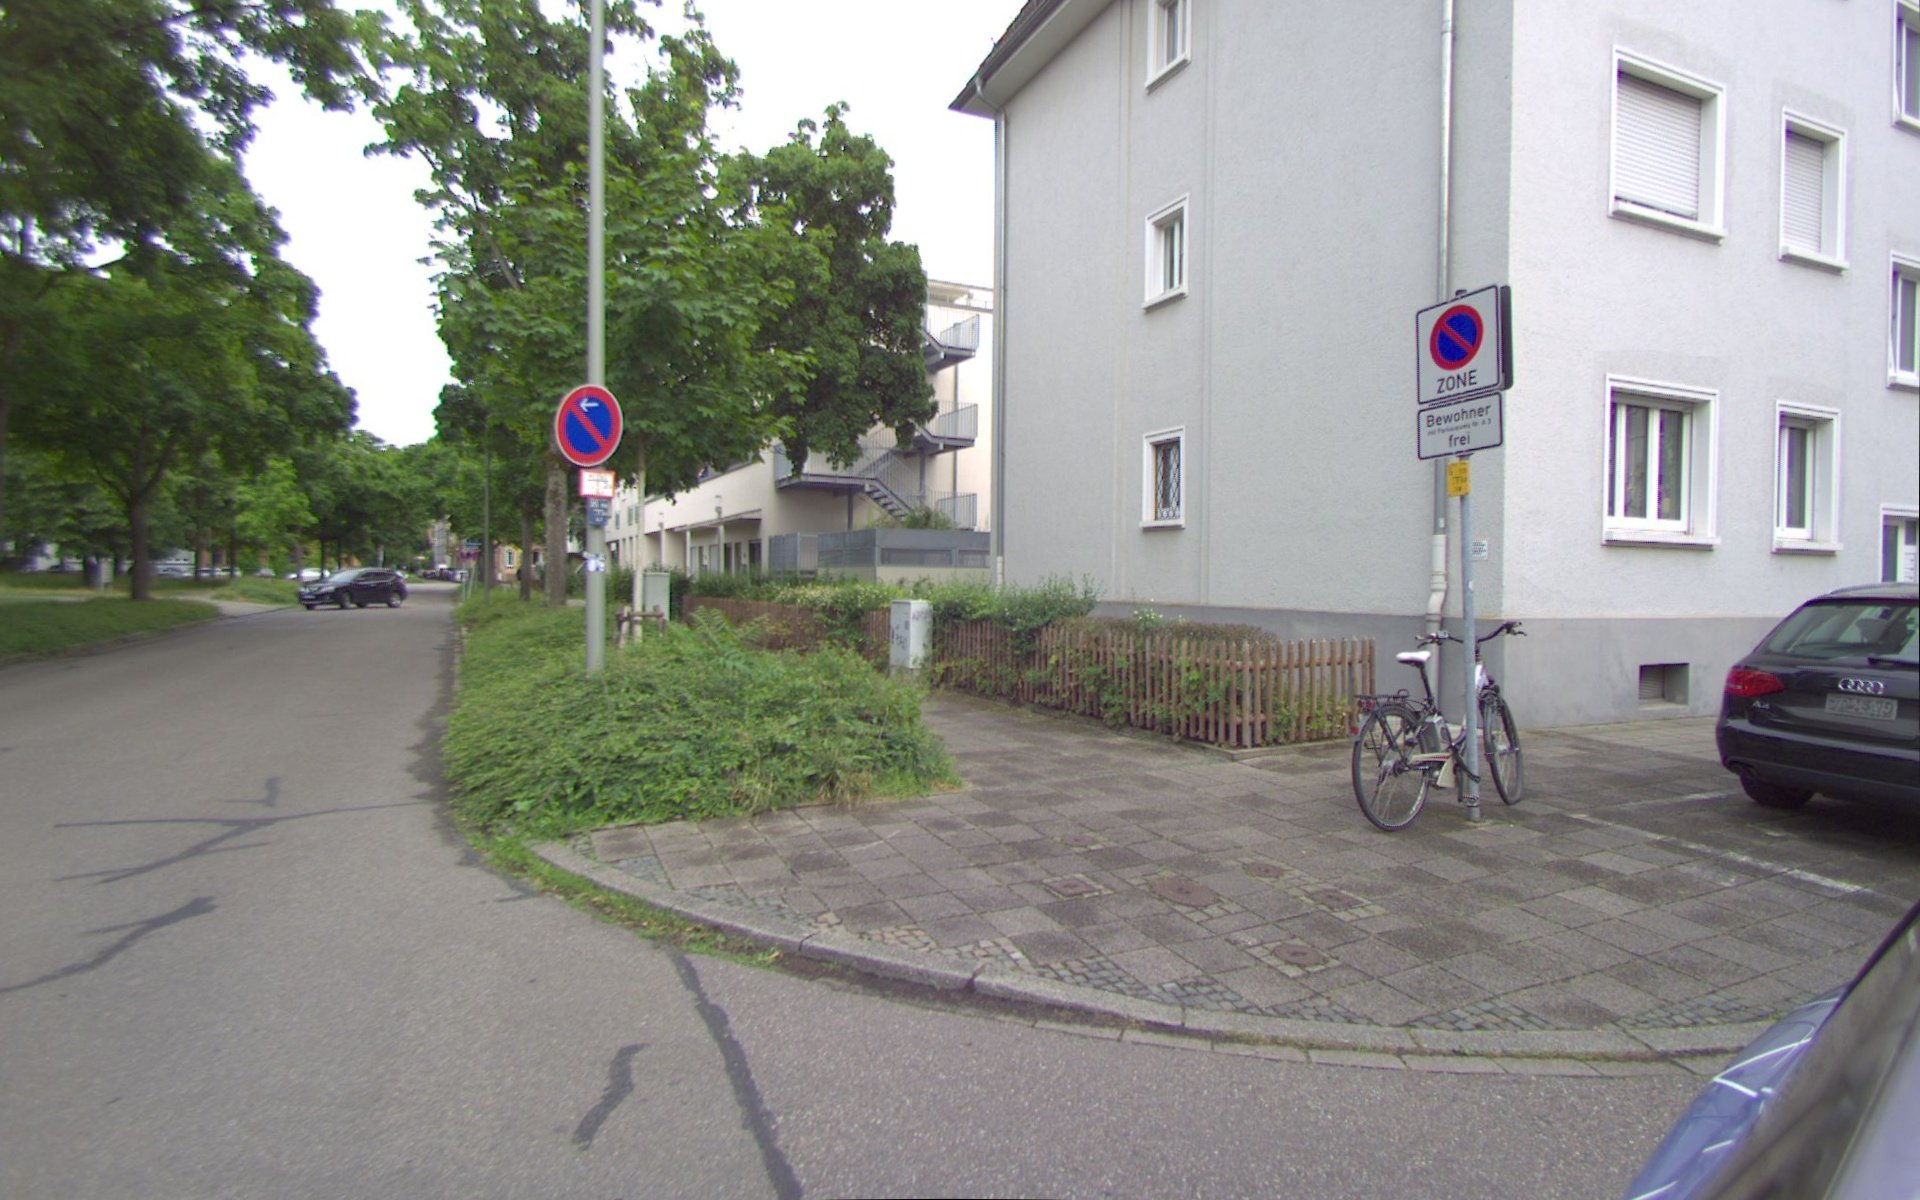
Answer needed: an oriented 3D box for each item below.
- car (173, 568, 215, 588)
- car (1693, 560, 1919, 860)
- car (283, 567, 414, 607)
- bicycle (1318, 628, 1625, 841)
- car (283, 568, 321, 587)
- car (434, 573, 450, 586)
[{"bbox_3d":[-75.603,-2.168,99.927,3.251,1.948,1.811,-1,1,-35],"label":"car"},{"bbox_3d":[6.811,0.548,6.112,4.628,1.480,1.870,0,2,-26],"label":"car"},{"bbox_3d":[-25.017,-0.543,41.608,1.971,1.504,4.520,1,1,14],"label":"car"},{"bbox_3d":[3.050,0.733,6.003,1.850,1.016,0.570,-2,4,-24],"label":"bicycle"},{"bbox_3d":[-68.116,-2.338,104.717,3.251,1.948,1.811,-1,1,-35],"label":"car"},{"bbox_3d":[-75.299,-3.002,147.095,1.750,1.786,3.664,1,1,-32],"label":"car"}]
